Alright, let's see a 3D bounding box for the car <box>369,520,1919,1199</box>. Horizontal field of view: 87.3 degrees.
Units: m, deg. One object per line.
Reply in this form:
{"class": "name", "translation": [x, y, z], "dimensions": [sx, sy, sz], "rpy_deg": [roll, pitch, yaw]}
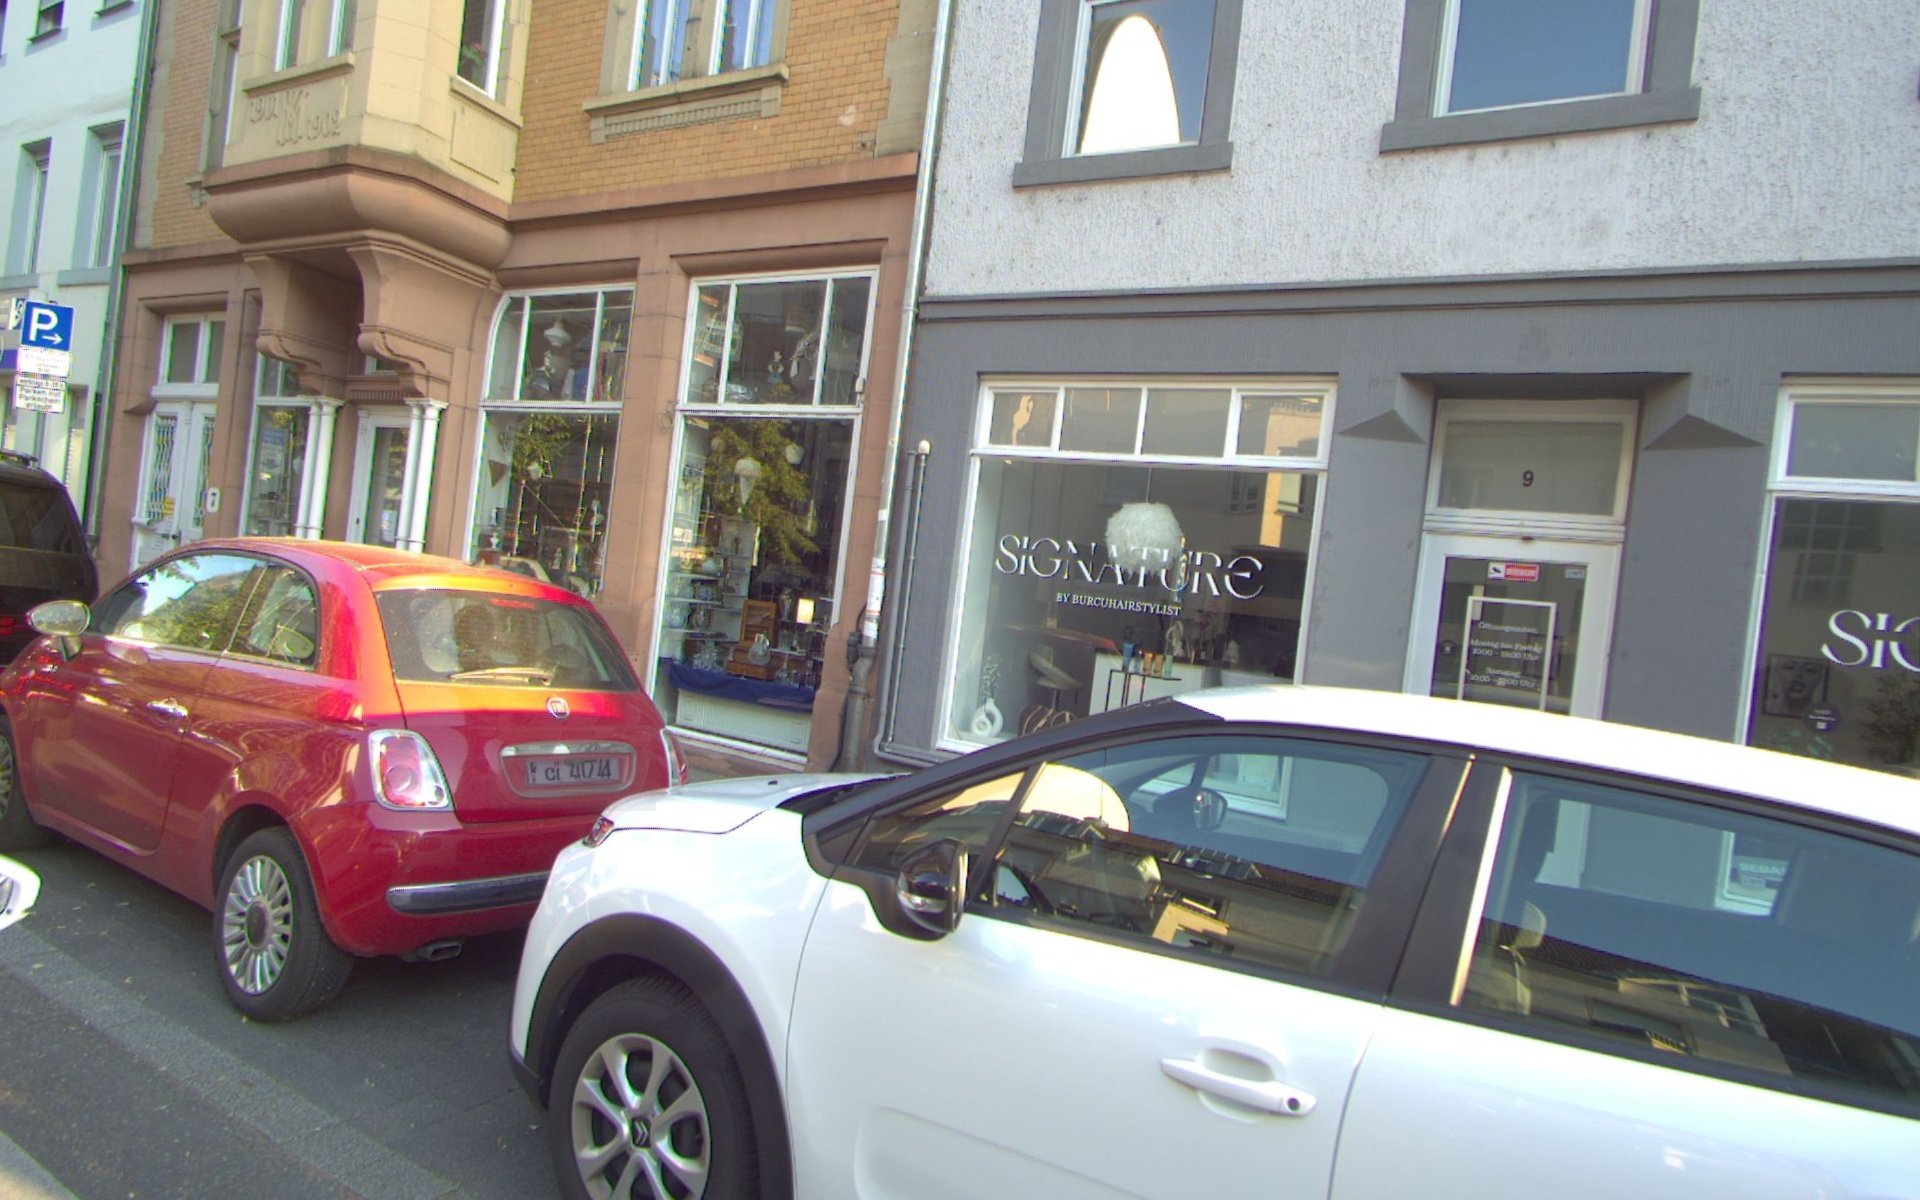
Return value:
{"class": "car", "translation": [0.659, 0.856, 2.347], "dimensions": [3.868, 1.591, 1.666], "rpy_deg": [7, -2, 29]}

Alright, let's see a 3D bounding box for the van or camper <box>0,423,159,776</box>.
{"class": "van or camper", "translation": [-7.079, -0.251, 5.793], "dimensions": [4.380, 1.829, 1.896], "rpy_deg": [7, -1, 23]}

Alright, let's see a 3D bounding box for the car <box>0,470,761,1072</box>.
{"class": "car", "translation": [-2.730, 0.432, 4.326], "dimensions": [3.364, 1.588, 1.529], "rpy_deg": [7, -1, 30]}
